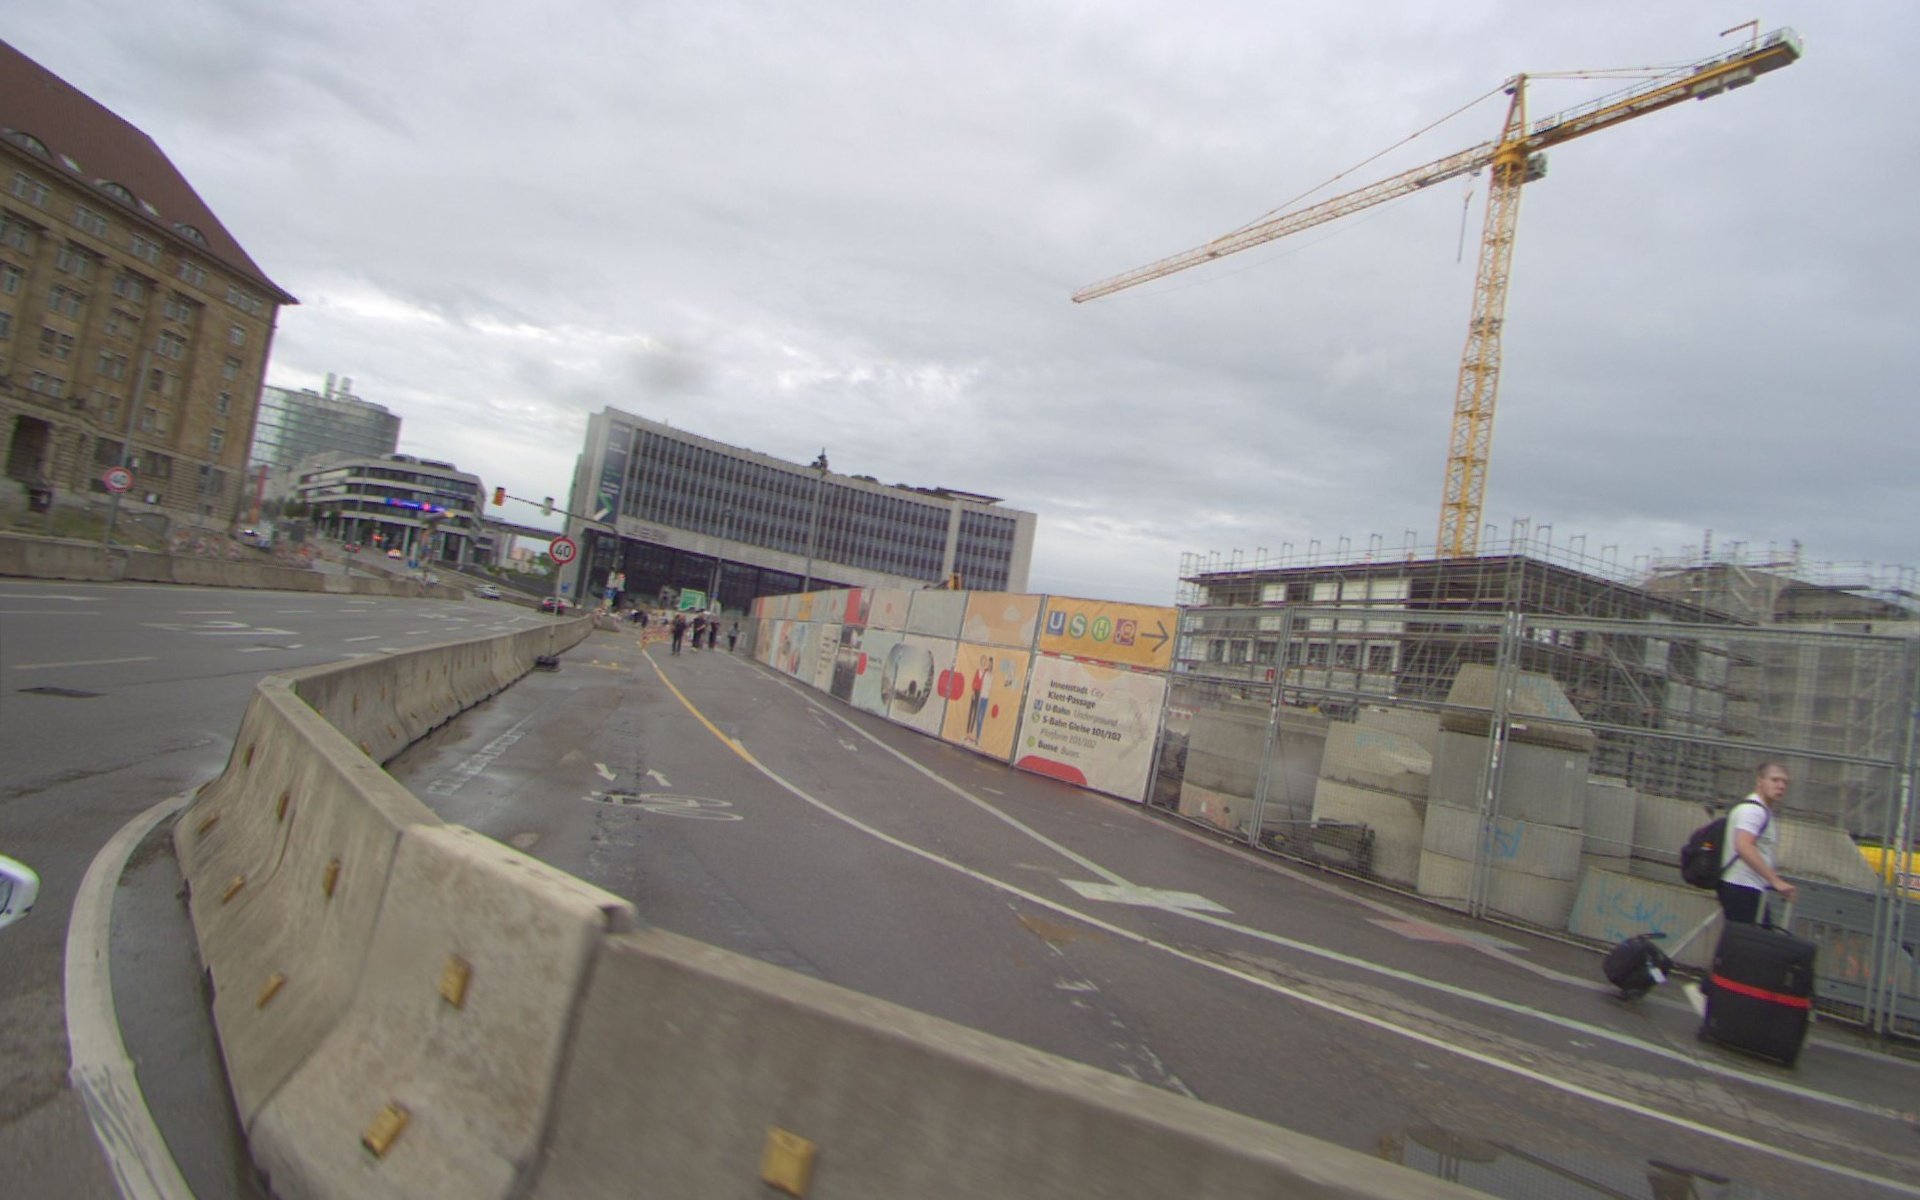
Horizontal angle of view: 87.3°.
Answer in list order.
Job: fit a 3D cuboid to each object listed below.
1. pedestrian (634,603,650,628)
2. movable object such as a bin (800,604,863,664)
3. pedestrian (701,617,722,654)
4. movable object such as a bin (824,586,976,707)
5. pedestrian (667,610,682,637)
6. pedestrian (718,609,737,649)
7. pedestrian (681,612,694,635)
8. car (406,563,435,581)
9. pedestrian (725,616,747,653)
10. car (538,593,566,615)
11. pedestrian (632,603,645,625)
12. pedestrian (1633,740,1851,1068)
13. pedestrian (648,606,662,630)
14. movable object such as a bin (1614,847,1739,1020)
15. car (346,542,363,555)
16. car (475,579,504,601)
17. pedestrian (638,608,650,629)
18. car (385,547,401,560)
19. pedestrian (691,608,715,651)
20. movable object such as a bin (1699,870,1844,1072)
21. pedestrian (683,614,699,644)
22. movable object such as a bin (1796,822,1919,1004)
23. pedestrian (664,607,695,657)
[{"bbox_3d":[-26.460,1.287,83.713,0.862,1.882,0.944,10,-2,-23],"label":"pedestrian"},{"bbox_3d":[-9.047,2.410,71.306,3.874,3.530,4.355,9,-3,-6],"label":"movable object such as a bin"},{"bbox_3d":[-13.288,1.881,53.804,0.788,1.853,0.624,10,-2,-18],"label":"pedestrian"},{"bbox_3d":[-2.235,1.606,35.817,3.889,3.530,4.338,9,-3,-20],"label":"movable object such as a bin"},{"bbox_3d":[-21.092,1.755,74.414,0.683,1.882,0.807,10,-2,-23],"label":"pedestrian"},{"bbox_3d":[-12.534,1.574,54.258,0.672,2.036,0.684,10,-1,-18],"label":"pedestrian"},{"bbox_3d":[-22.866,1.965,84.355,0.726,1.873,0.828,10,-3,-21],"label":"pedestrian"},{"bbox_3d":[-60.731,-3.155,113.270,3.706,1.521,1.740,6,-5,45],"label":"car"},{"bbox_3d":[-12.323,1.910,55.332,0.780,1.882,0.679,10,-2,-23],"label":"pedestrian"},{"bbox_3d":[-35.014,0.379,86.332,1.662,1.522,3.724,11,-6,-27],"label":"car"},{"bbox_3d":[-29.374,1.267,91.899,0.772,1.882,0.807,10,-2,-23],"label":"pedestrian"},{"bbox_3d":[5.243,1.960,6.823,0.765,1.884,1.004,8,-3,25],"label":"pedestrian"},{"bbox_3d":[-26.114,1.532,86.127,0.772,1.882,1.053,10,-2,-23],"label":"pedestrian"},{"bbox_3d":[5.201,2.398,7.332,0.543,1.027,0.520,8,-3,25],"label":"movable object such as a bin"},{"bbox_3d":[-103.434,-8.758,171.835,1.983,1.823,4.228,11,-3,-33],"label":"car"},{"bbox_3d":[-50.541,-1.118,107.978,1.733,1.895,3.738,11,-3,-38],"label":"car"},{"bbox_3d":[-32.878,1.950,104.734,0.775,2.035,0.861,10,-2,-13],"label":"pedestrian"},{"bbox_3d":[-99.892,-8.137,177.321,1.983,1.823,4.228,11,-3,-33],"label":"car"},{"bbox_3d":[-12.103,1.386,47.380,0.788,1.897,0.817,10,-2,-17],"label":"pedestrian"},{"bbox_3d":[5.052,2.286,6.286,0.513,1.027,0.432,8,-3,25],"label":"movable object such as a bin"},{"bbox_3d":[-17.888,1.910,66.953,0.659,1.882,0.679,10,-2,-23],"label":"pedestrian"},{"bbox_3d":[9.663,3.168,9.789,1.169,1.487,1.892,9,-2,-12],"label":"movable object such as a bin"},{"bbox_3d":[-11.393,1.298,40.907,0.915,1.853,0.684,10,-2,-18],"label":"pedestrian"}]
